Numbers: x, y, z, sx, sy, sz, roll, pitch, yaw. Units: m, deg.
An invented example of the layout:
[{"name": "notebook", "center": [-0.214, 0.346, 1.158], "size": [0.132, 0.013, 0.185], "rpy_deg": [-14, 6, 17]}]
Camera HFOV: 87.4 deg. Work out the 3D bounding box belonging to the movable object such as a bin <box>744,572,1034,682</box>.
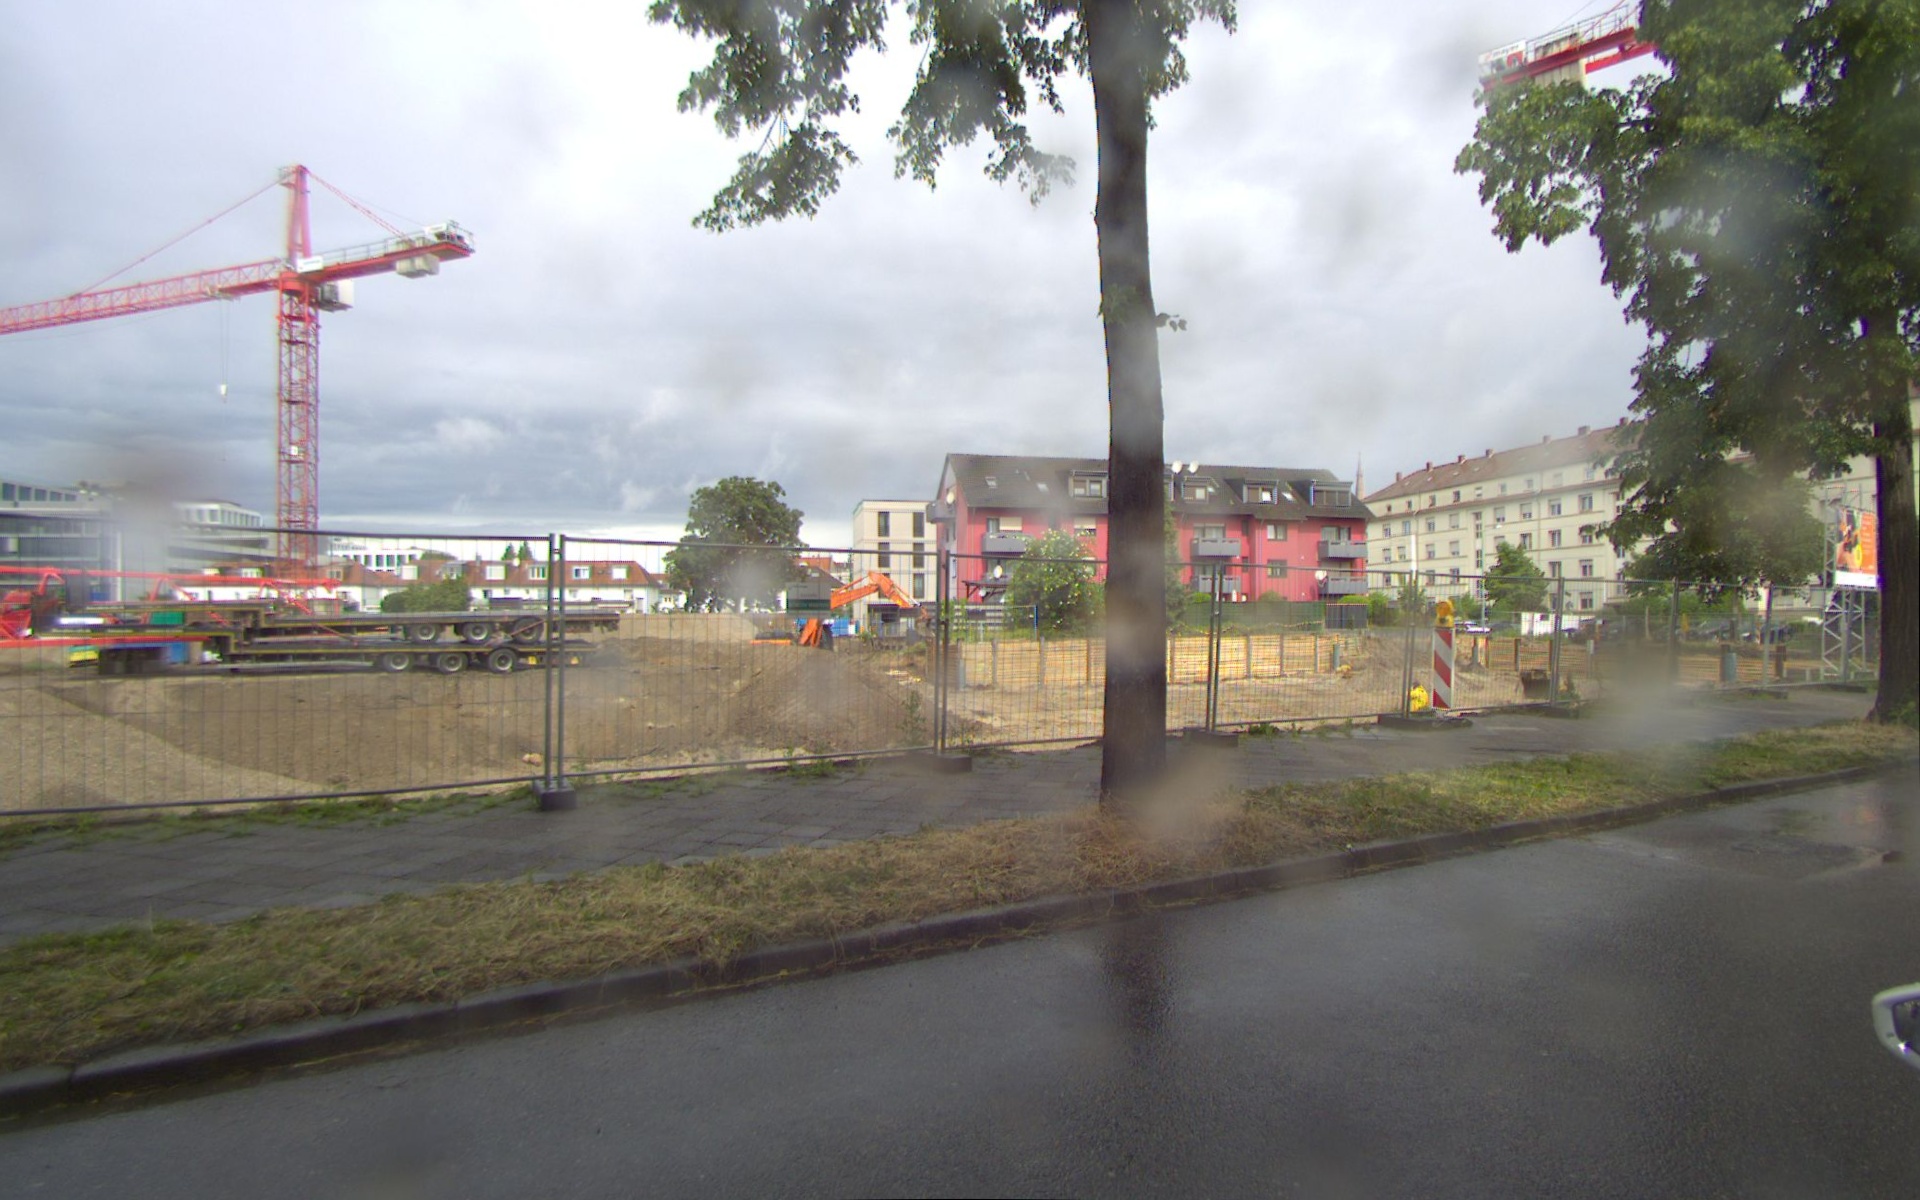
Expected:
[{"name": "movable object such as a bin", "center": [-4.270, 1.519, 60.659], "size": [16.430, 6.125, 6.885], "rpy_deg": [0, 0, -6]}]
